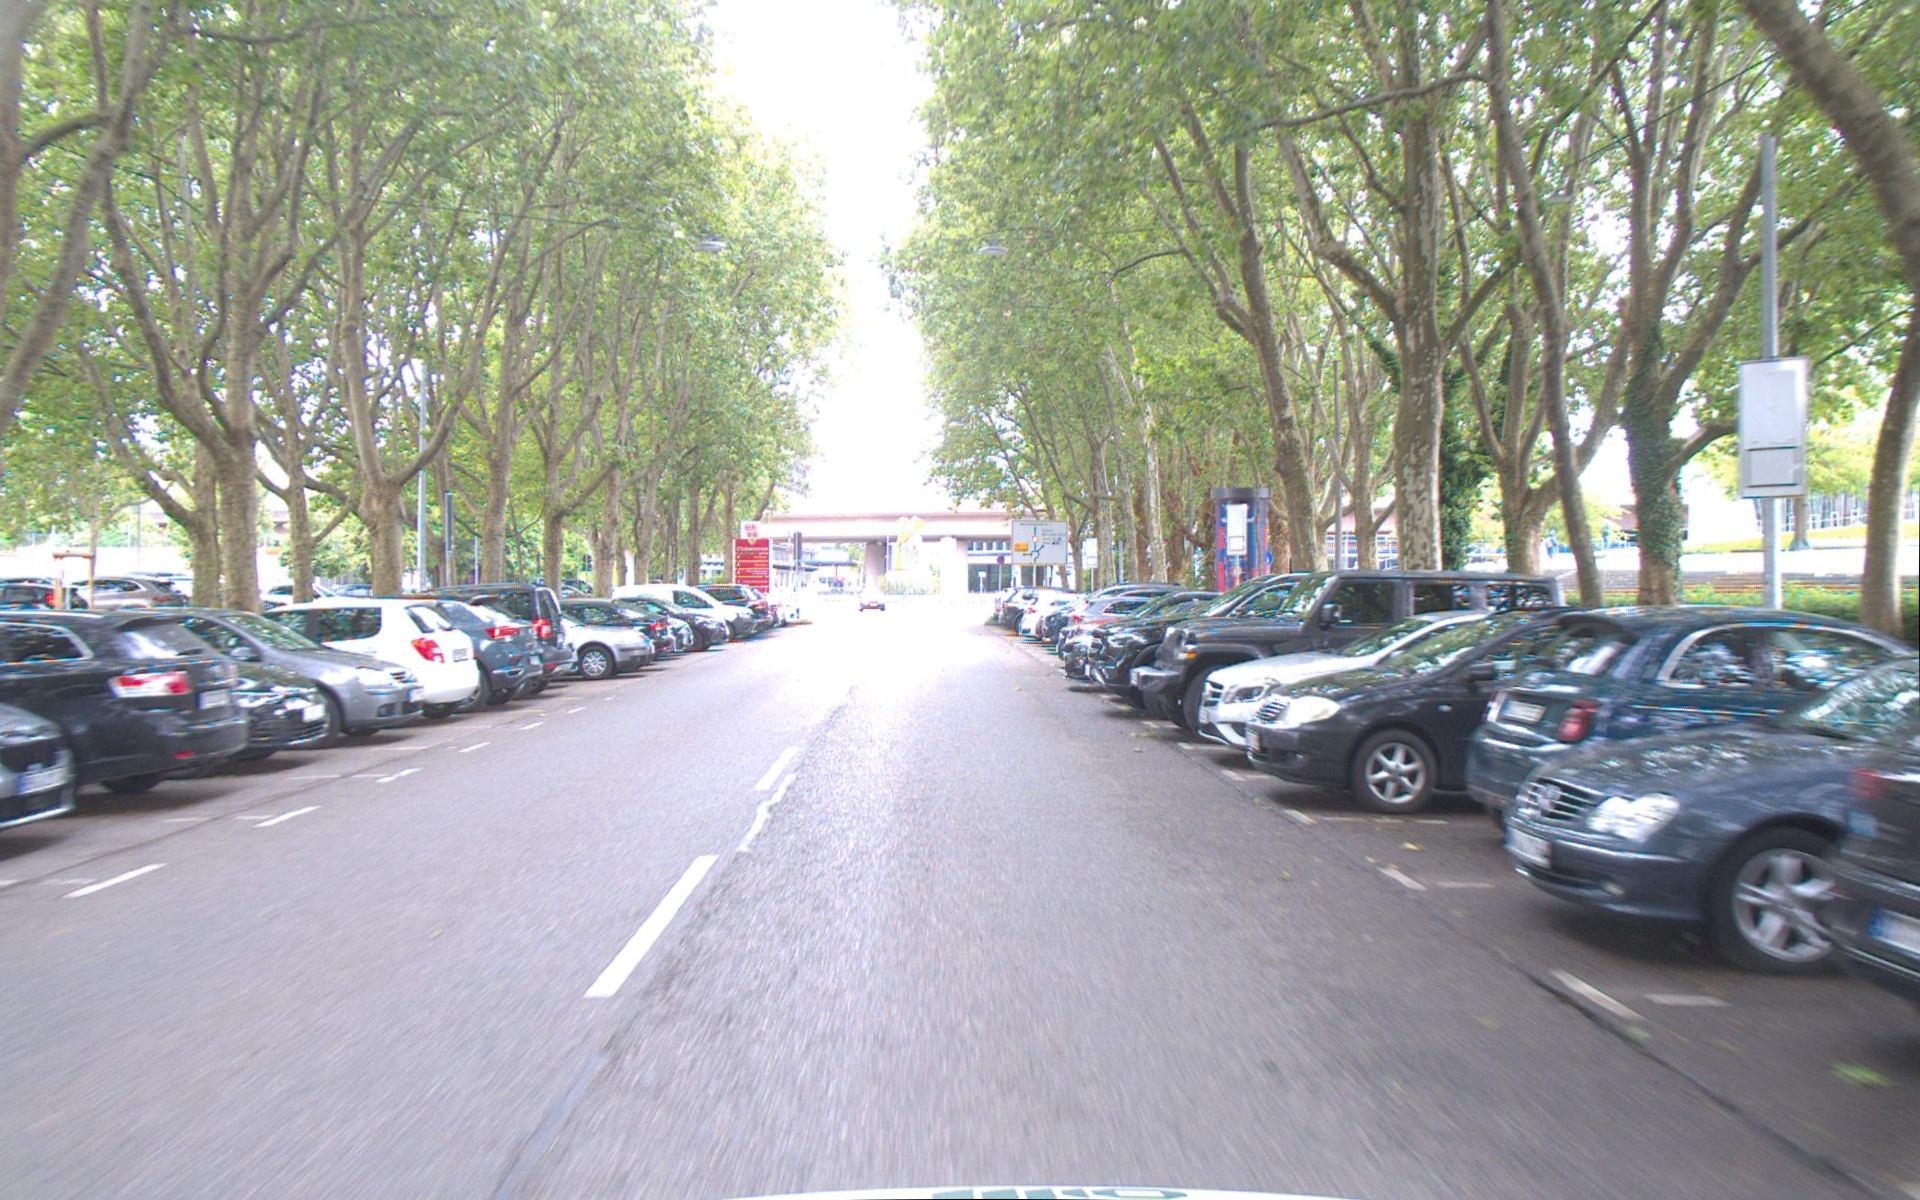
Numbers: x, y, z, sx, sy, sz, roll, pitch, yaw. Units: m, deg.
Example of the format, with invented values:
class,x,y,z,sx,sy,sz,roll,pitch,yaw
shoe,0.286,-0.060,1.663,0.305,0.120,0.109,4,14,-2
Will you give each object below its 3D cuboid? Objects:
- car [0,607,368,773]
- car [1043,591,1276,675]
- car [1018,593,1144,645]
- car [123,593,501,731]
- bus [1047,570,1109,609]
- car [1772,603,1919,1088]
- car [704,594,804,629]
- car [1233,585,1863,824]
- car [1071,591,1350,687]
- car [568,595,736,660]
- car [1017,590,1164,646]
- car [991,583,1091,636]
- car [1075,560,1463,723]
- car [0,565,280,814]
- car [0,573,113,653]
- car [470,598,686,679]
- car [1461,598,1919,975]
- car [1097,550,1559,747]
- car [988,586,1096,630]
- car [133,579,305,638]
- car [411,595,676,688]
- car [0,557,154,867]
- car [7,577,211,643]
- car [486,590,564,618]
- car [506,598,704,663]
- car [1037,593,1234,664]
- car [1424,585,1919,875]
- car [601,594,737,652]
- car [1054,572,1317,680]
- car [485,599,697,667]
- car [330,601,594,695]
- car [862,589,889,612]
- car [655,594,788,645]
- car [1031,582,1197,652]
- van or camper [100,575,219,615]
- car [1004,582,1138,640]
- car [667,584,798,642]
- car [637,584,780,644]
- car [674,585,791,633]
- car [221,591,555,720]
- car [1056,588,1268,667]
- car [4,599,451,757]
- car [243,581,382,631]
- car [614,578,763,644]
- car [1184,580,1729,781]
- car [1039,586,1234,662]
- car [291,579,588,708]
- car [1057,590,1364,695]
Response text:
class,x,y,z,sx,sy,sz,roll,pitch,yaw
car,-7.708,0.780,15.128,3.907,1.393,1.843,1,0,-3
car,3.923,0.637,32.911,4.263,1.528,1.923,1,1,-7
car,3.647,0.560,50.114,3.568,1.452,1.664,1,1,-4
car,-7.859,0.732,20.261,3.909,1.511,1.704,-2,0,3
bus,10.824,-0.957,150.727,2.286,3.458,10.012,0,0,25
car,5.025,0.814,5.182,4.113,1.481,1.783,1,1,-5
car,-8.726,0.499,70.226,3.911,1.409,1.912,1,0,2
car,4.308,0.743,12.557,4.111,1.545,1.784,2,0,-2
car,4.139,0.631,27.807,4.403,1.444,1.829,1,0,0
car,-7.842,0.689,42.352,3.896,1.445,1.756,-2,0,2
car,3.728,0.519,47.660,4.064,1.483,1.727,1,0,-1
car,3.258,0.374,67.365,3.906,2.049,2.000,1,1,-1
car,3.746,0.483,20.639,4.404,1.828,2.047,1,1,-2
car,-7.429,0.605,12.346,3.905,1.711,1.855,1,0,0
car,-23.554,0.298,40.793,4.234,1.893,2.027,1,0,-2
car,-7.467,0.732,32.603,3.852,1.422,1.702,-2,0,-3
car,4.677,0.794,7.684,4.113,1.481,1.783,1,1,-5
car,3.837,0.489,17.770,4.407,1.899,2.045,1,1,-5
car,3.337,0.322,67.699,4.258,1.662,1.925,1,1,-1
car,-23.679,0.261,53.008,4.427,1.793,2.295,1,0,-2
car,-7.516,0.722,30.152,4.374,1.508,1.702,-2,0,-3
car,-7.244,0.596,9.887,3.905,1.711,1.855,1,0,0
car,-23.612,0.278,46.055,4.460,1.756,2.295,1,0,-2
car,-24.758,0.237,94.325,3.906,1.549,2.001,1,0,-1
car,-8.520,0.726,39.979,4.373,1.393,1.879,-2,0,-2
car,3.960,0.632,37.792,4.258,1.438,1.925,1,1,-1
car,5.155,0.738,10.062,4.113,1.545,1.783,1,1,-5
car,-8.343,0.649,47.381,3.716,1.497,1.759,-2,0,-12
car,4.098,0.457,30.488,4.410,1.828,2.044,1,1,-8
car,-8.374,0.735,37.789,4.371,1.371,1.902,-2,0,0
car,-8.245,0.778,27.658,3.852,1.388,1.826,-2,0,-3
car,-5.907,0.028,115.934,1.805,1.536,4.013,1,0,-3
car,-7.911,0.636,55.048,4.044,1.477,2.013,-3,0,0
car,4.169,0.447,45.214,4.259,1.776,1.836,1,1,-3
van or camper,-35.751,-0.219,73.941,4.234,1.739,2.131,1,0,-2
car,3.666,0.363,55.299,4.259,1.791,1.924,2,0,-3
car,-7.809,0.425,57.066,4.230,1.841,1.867,-2,0,-1
car,-7.953,0.453,52.606,4.230,1.826,2.036,1,0,-1
car,-8.579,0.342,62.559,4.179,1.575,1.907,-3,0,-3
car,-7.580,0.709,22.211,3.852,1.542,1.727,-2,0,-3
car,4.285,0.576,35.509,4.258,1.528,1.925,1,1,-2
car,-7.603,0.780,17.464,3.913,1.445,1.702,-2,0,-3
car,-23.652,0.212,60.517,4.234,1.739,2.131,1,0,-2
car,-8.173,0.320,50.084,4.233,1.841,1.866,-2,0,-5
car,4.394,0.676,15.229,4.402,1.599,2.048,1,1,2
car,4.197,0.549,39.942,4.497,1.668,1.873,1,1,1
car,-7.679,0.610,24.676,3.852,1.738,1.751,-2,0,-3
car,3.765,0.629,25.432,4.404,1.453,1.932,1,0,-1
